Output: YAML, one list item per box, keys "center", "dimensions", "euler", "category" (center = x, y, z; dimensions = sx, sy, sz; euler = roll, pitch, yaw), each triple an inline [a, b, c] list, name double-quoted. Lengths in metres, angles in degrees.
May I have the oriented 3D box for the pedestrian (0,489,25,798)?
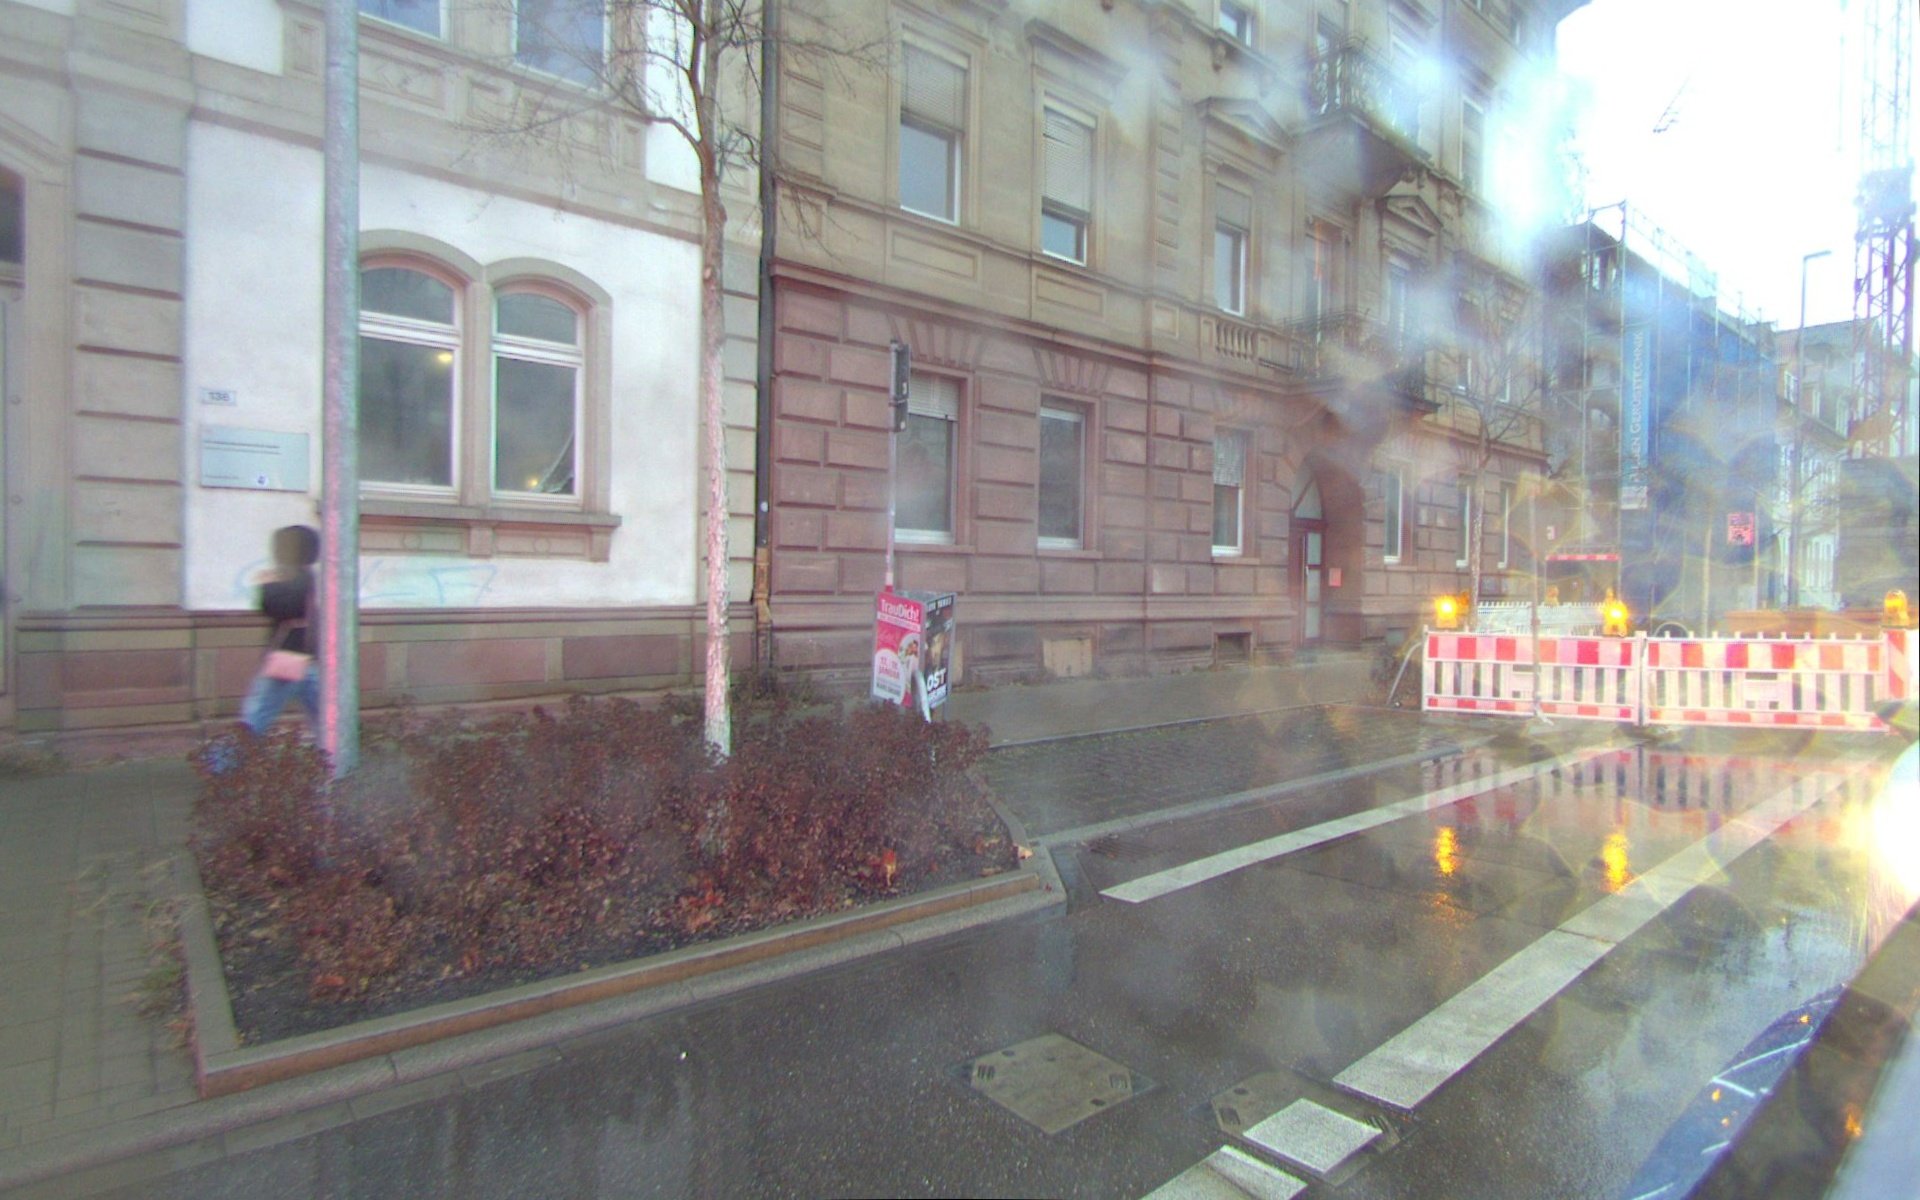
- center: [-5.772, 0.225, 5.690]
  dimensions: [0.694, 1.693, 0.870]
  euler: [0, 2, -39]
  category: "pedestrian"

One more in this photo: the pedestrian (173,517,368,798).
- center: [-4.271, 0.304, 6.262]
  dimensions: [0.913, 1.564, 0.870]
  euler: [0, 2, -40]
  category: "pedestrian"
